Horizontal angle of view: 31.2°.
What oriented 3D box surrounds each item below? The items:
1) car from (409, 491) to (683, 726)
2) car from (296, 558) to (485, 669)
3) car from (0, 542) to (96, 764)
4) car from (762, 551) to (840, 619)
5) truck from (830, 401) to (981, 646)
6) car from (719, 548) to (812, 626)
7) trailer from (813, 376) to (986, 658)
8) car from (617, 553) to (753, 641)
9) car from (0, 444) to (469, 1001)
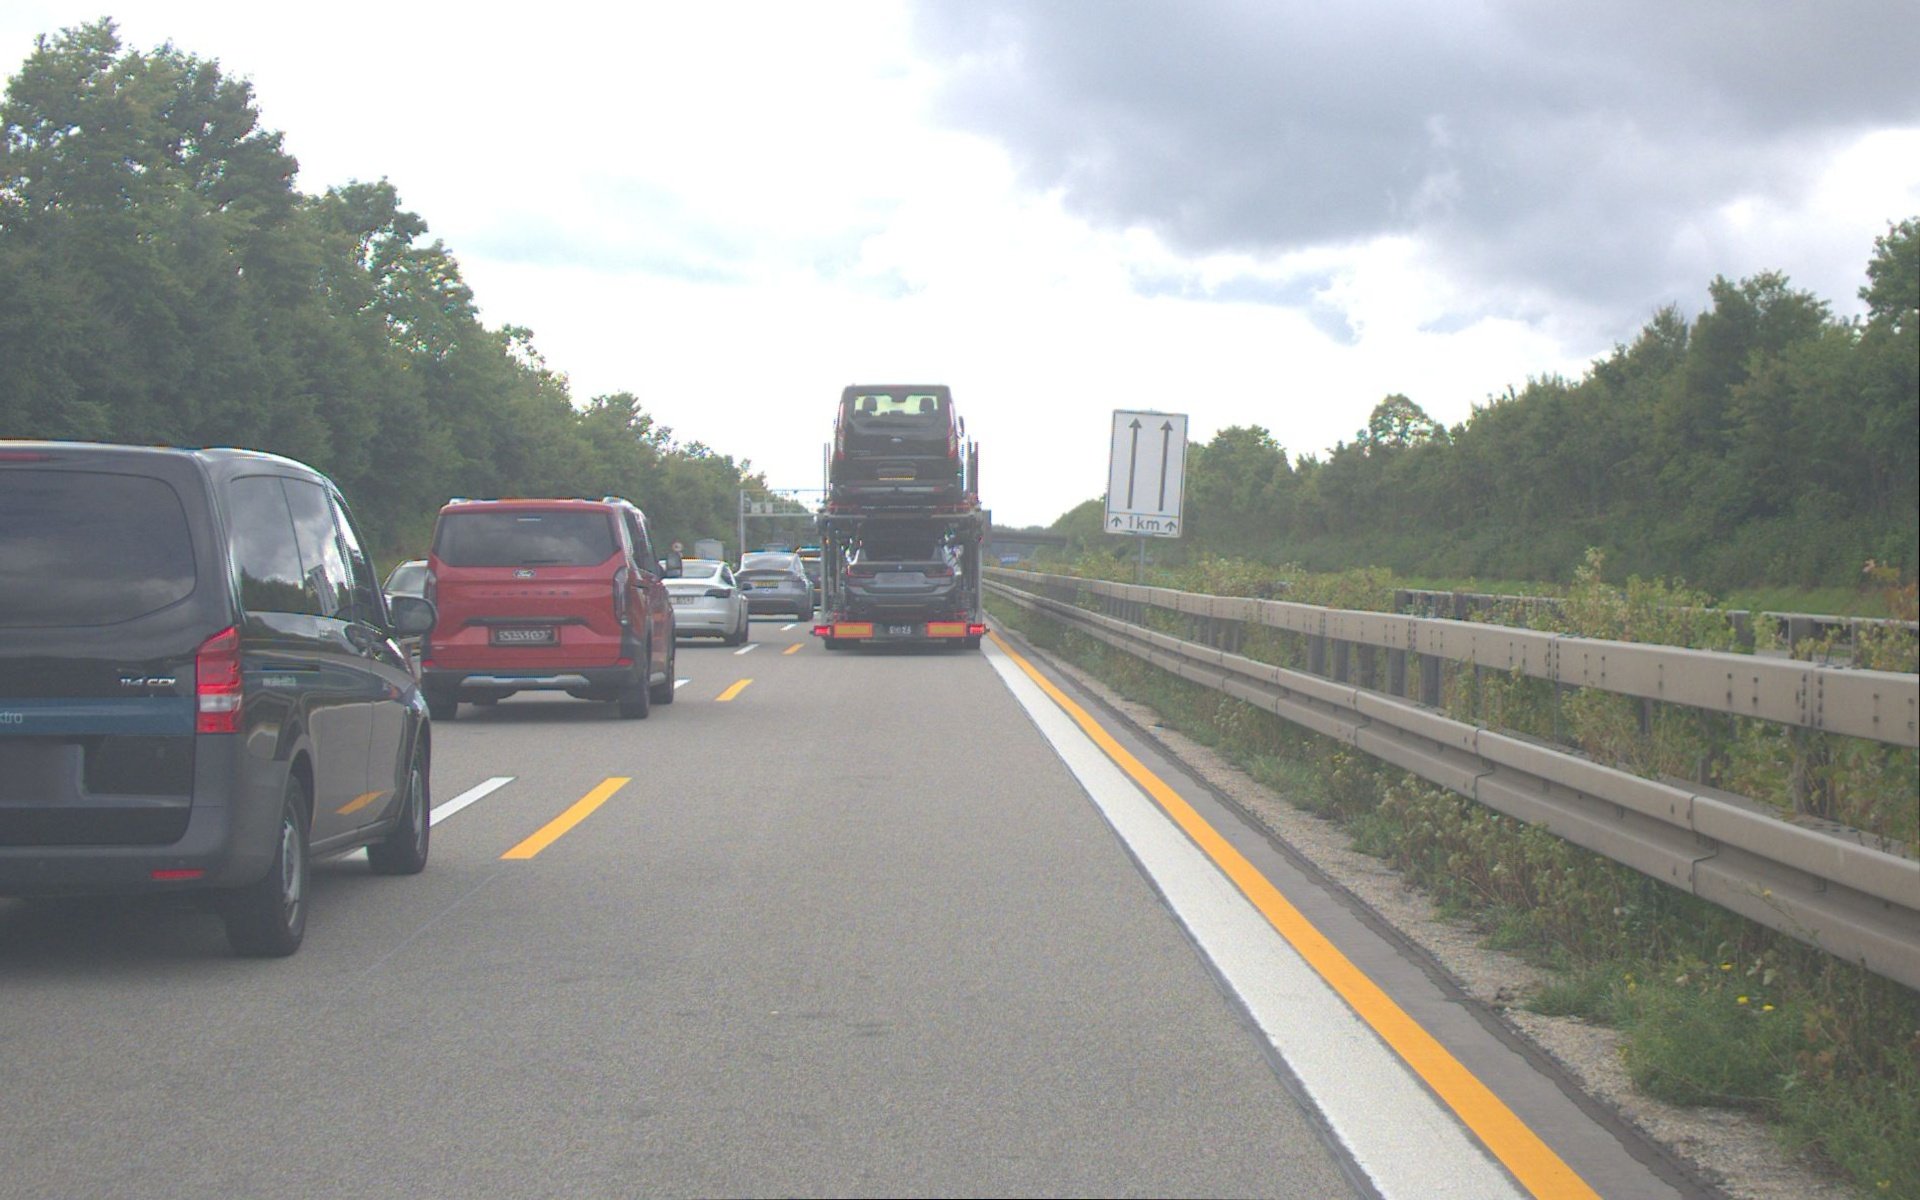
[{"bbox_3d":[-3.739,0.049,31.790,2.031,2.007,4.578,0,1,-1],"label":"car"},{"bbox_3d":[-8.209,0.152,49.972,1.993,1.515,4.953,0,1,-1],"label":"car"},{"bbox_3d":[-7.566,0.358,23.963,1.993,1.515,4.670,0,1,-1],"label":"car"},{"bbox_3d":[-4.249,-0.421,92.461,2.031,1.751,4.578,0,1,-2],"label":"car"},{"bbox_3d":[-0.917,-1.306,60.326,2.515,4.091,5.685,0,1,0],"label":"truck"},{"bbox_3d":[-4.522,-0.321,80.576,2.031,1.751,4.578,0,1,-1],"label":"car"},{"bbox_3d":[-0.902,-1.262,55.588,2.515,4.091,11.113,0,1,0],"label":"trailer"},{"bbox_3d":[-4.586,-0.077,57.965,2.031,1.426,4.578,0,1,-1],"label":"car"},{"bbox_3d":[-3.391,0.378,14.167,1.993,1.837,5.610,0,1,-1],"label":"car"}]
